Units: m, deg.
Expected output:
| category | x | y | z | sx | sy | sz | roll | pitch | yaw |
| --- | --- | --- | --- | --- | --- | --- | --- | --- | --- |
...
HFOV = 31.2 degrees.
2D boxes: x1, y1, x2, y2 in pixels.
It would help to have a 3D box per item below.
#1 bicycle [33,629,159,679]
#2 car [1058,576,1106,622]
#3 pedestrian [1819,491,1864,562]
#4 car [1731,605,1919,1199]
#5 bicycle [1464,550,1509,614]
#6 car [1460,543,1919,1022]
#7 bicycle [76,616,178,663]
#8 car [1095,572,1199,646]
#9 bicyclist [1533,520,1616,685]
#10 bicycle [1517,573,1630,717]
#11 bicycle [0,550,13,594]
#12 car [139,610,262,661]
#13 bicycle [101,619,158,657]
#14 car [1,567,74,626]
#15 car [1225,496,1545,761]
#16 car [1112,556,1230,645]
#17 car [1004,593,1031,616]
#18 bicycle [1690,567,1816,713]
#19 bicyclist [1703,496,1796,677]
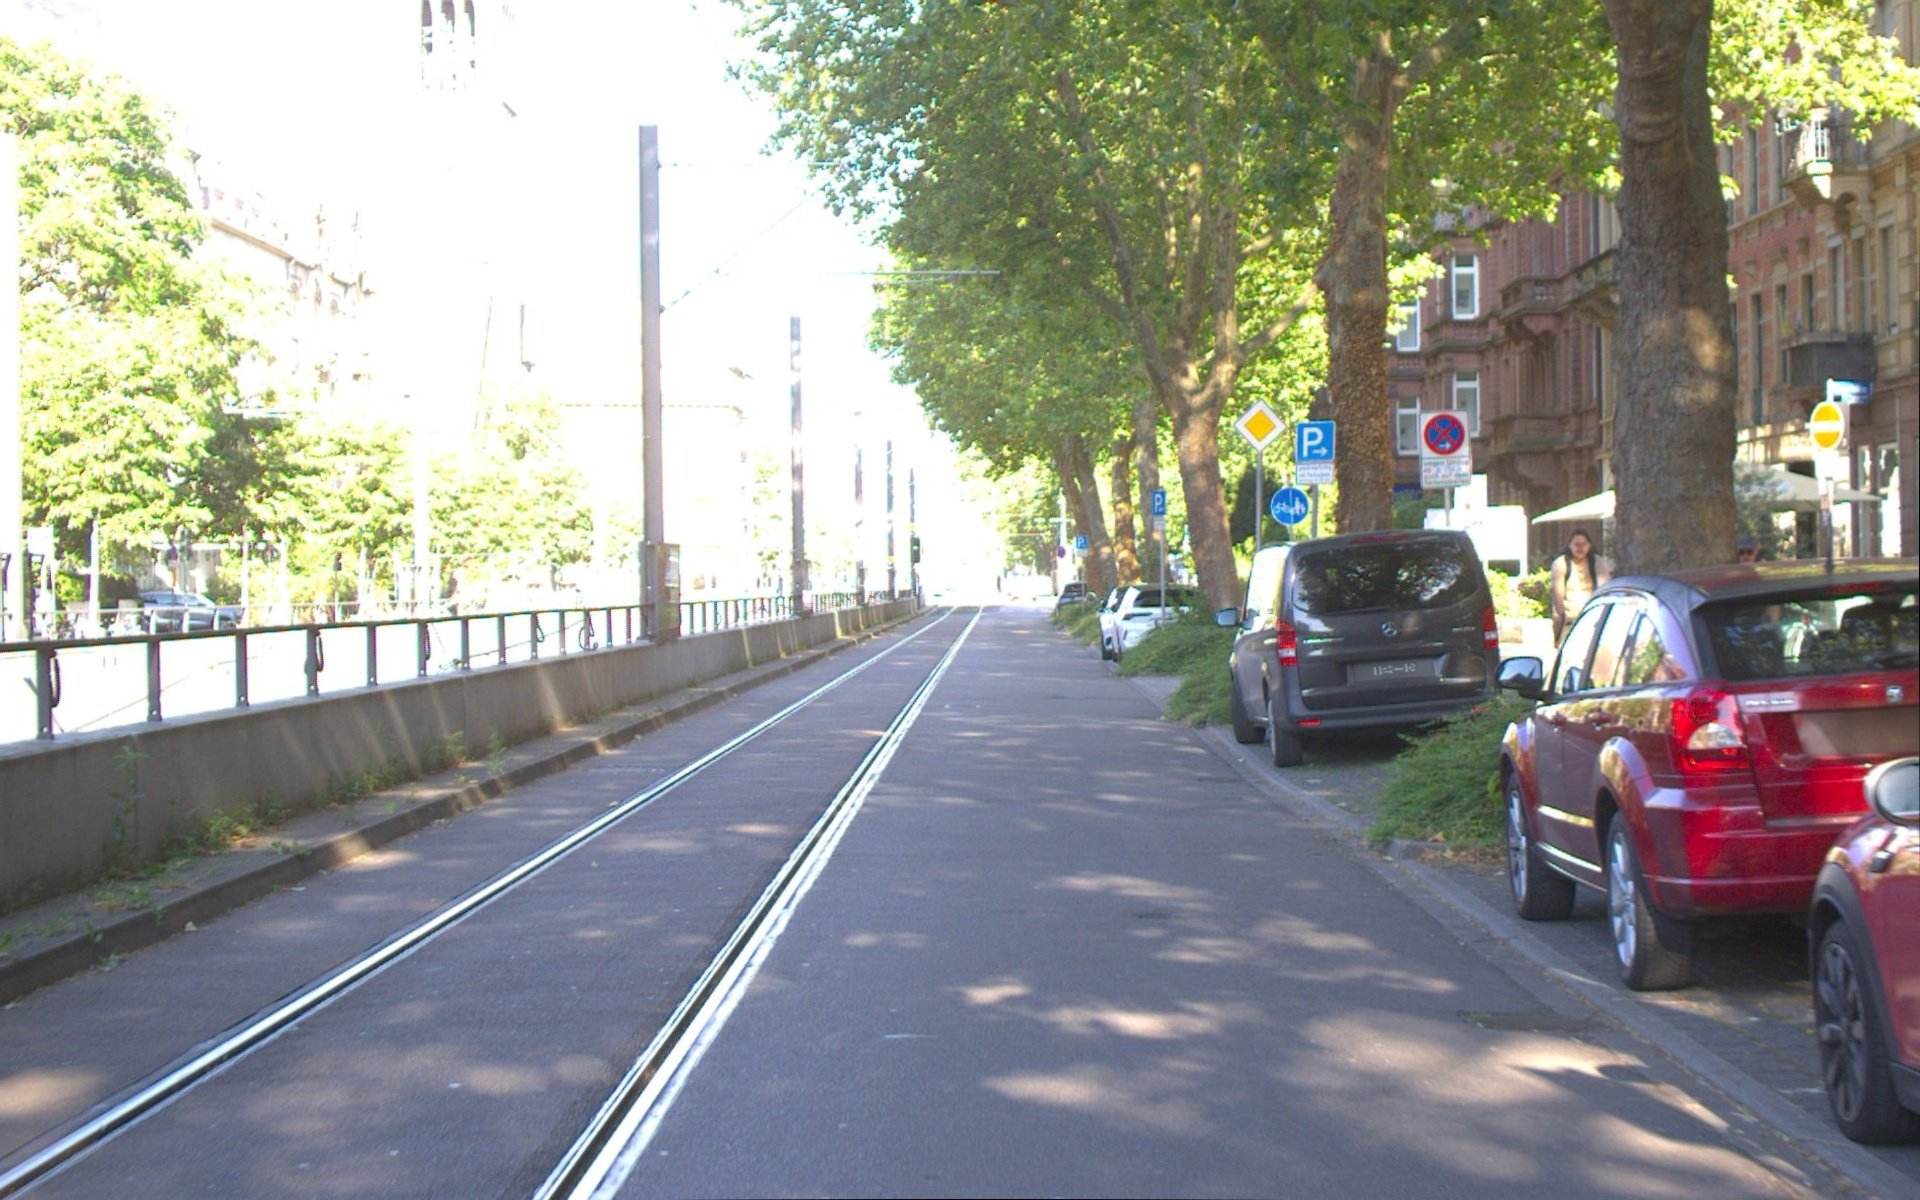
| category | x | y | z | sx | sy | sz | roll | pitch | yaw |
| --- | --- | --- | --- | --- | --- | --- | --- | --- | --- |
| bicycle | -20.144 | 1.243 | 80.219 | 2.778 | 1.095 | 0.643 | -1 | 1 | -31 |
| car | 4.682 | -0.053 | 132.185 | 1.616 | 1.581 | 4.417 | -4 | 1 | 0 |
| pedestrian | 14.498 | -1.207 | 56.548 | 0.556 | 1.134 | 0.526 | -3 | 1 | 0 |
| car | 3.156 | 0.736 | 8.060 | 1.714 | 1.457 | 4.000 | -2 | 0 | -1 |
| bicycle | 9.775 | -0.348 | 63.917 | 0.475 | 1.139 | 1.896 | -5 | 1 | 1 |
| car | 3.244 | 0.593 | 13.902 | 1.714 | 1.543 | 4.501 | -4 | 0 | 0 |
| bicycle | -20.524 | 0.968 | 84.694 | 2.368 | 1.095 | 0.557 | -1 | 1 | -29 |
| car | 3.647 | 0.155 | 67.690 | 1.830 | 1.322 | 4.000 | -3 | 1 | 1 |
| bicyclist | 5.198 | 0.014 | 29.104 | 0.569 | 1.376 | 0.644 | -1 | 1 | 0 |
| bicycle | 5.188 | 0.360 | 29.176 | 0.560 | 1.174 | 2.226 | 0 | 0 | 0 |
| bicycle | -24.227 | -0.700 | 85.690 | 0.555 | 1.095 | 2.376 | 0 | 1 | 1 |
| car | -26.266 | 1.229 | 119.052 | 3.986 | 1.619 | 1.826 | -1 | 1 | -8 |
| bicycle | -20.615 | 0.933 | 85.310 | 1.264 | 0.902 | 0.539 | -1 | 1 | -29 |
| car | -30.473 | -0.139 | 113.661 | 1.993 | 1.843 | 4.482 | 0 | 1 | -11 |
| car | 3.607 | 0.169 | 30.133 | 1.993 | 2.006 | 5.202 | -3 | 1 | -1 |
| car | 3.796 | -0.020 | 62.461 | 1.802 | 1.472 | 4.647 | -2 | 1 | 0 |
| car | 3.865 | 0.277 | 229.999 | 1.745 | 1.457 | 3.644 | 0 | 1 | 0 |
| bicycle | 6.678 | 0.321 | 29.048 | 0.560 | 1.174 | 2.022 | -2 | 0 | 0 |
| bicyclist | 6.662 | -0.116 | 29.021 | 0.569 | 1.482 | 0.644 | -3 | 1 | 0 |
